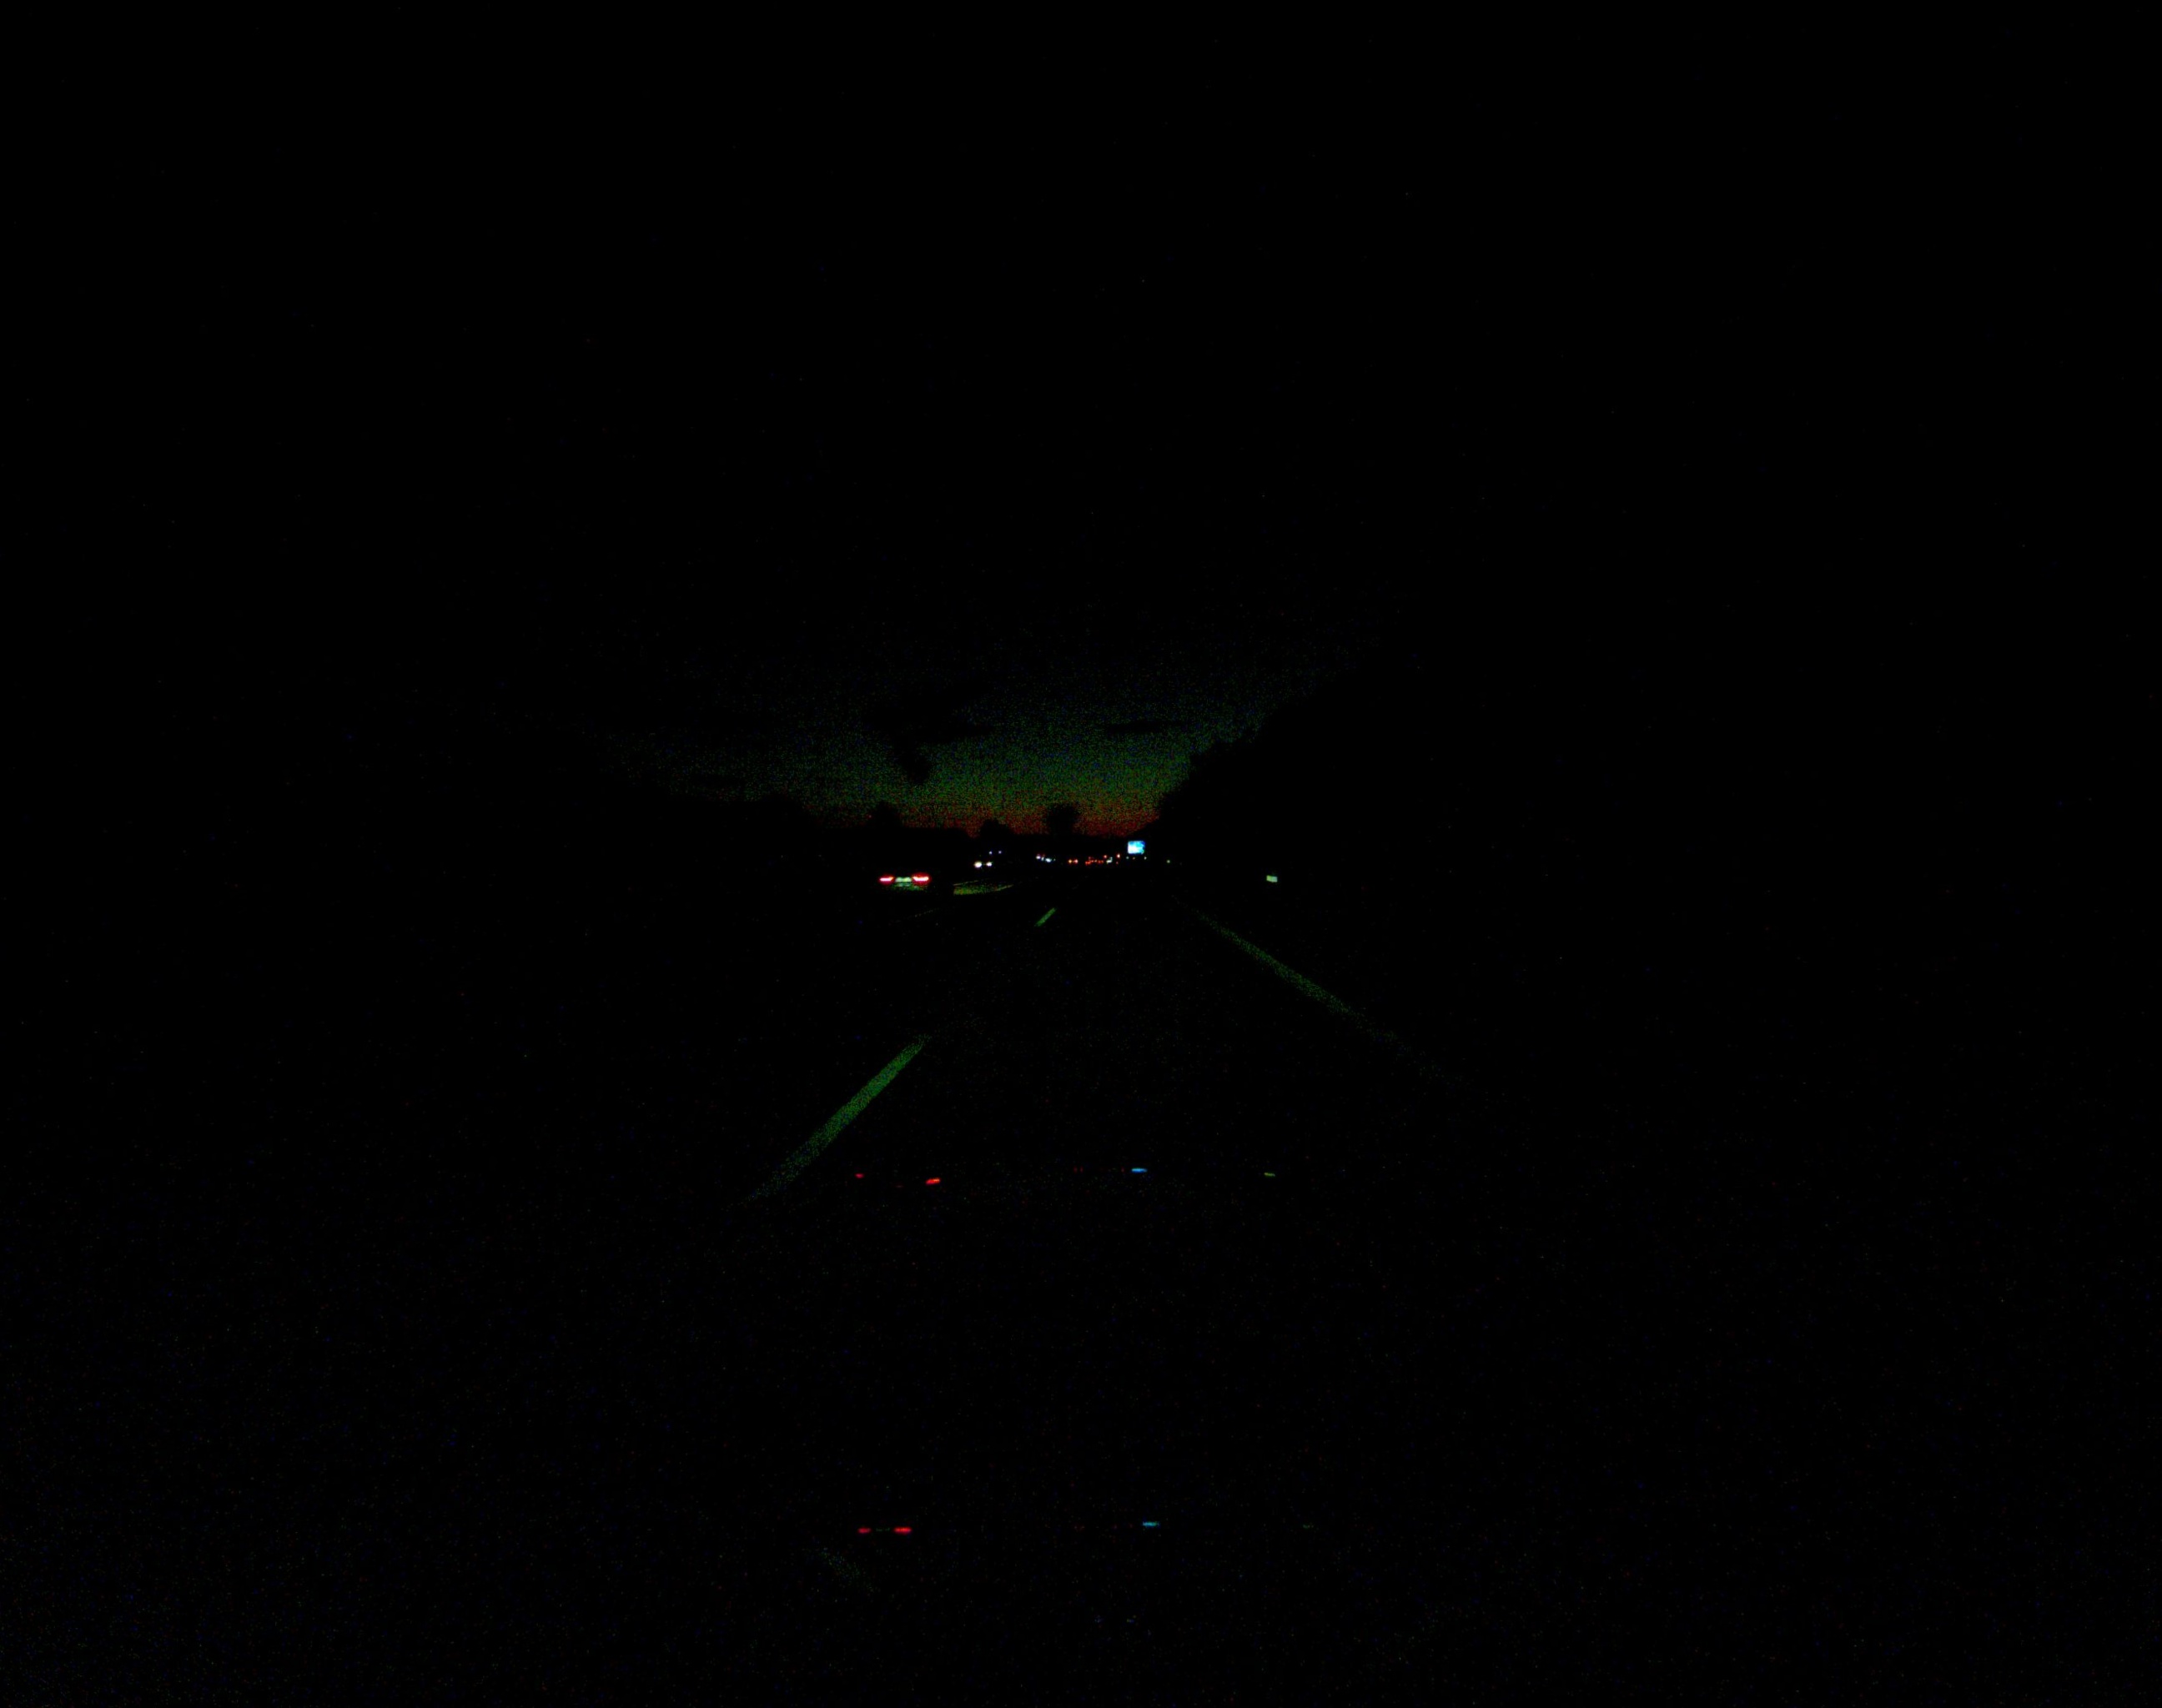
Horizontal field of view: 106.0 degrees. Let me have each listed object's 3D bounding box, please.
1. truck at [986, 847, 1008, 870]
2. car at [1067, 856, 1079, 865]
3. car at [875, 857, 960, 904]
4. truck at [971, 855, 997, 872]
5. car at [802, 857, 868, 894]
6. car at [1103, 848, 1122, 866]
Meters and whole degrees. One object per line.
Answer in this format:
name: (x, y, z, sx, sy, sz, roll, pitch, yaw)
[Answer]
truck: (-17.028, 0.952, 165.832, 3.313, 4.433, 6.710, -3, 0, 2)
car: (-1.670, 1.321, 171.080, 2.188, 1.955, 4.635, -1, 0, 2)
car: (-5.721, 0.879, 29.190, 1.773, 1.487, 5.256, -1, 0, 2)
truck: (-15.368, 1.475, 129.287, 2.862, 2.641, 7.889, -2, 0, 2)
car: (-14.087, 1.180, 46.942, 2.188, 1.955, 4.765, -1, 0, 2)
car: (3.981, 0.379, 101.709, 2.188, 1.955, 4.766, -4, 0, 2)
